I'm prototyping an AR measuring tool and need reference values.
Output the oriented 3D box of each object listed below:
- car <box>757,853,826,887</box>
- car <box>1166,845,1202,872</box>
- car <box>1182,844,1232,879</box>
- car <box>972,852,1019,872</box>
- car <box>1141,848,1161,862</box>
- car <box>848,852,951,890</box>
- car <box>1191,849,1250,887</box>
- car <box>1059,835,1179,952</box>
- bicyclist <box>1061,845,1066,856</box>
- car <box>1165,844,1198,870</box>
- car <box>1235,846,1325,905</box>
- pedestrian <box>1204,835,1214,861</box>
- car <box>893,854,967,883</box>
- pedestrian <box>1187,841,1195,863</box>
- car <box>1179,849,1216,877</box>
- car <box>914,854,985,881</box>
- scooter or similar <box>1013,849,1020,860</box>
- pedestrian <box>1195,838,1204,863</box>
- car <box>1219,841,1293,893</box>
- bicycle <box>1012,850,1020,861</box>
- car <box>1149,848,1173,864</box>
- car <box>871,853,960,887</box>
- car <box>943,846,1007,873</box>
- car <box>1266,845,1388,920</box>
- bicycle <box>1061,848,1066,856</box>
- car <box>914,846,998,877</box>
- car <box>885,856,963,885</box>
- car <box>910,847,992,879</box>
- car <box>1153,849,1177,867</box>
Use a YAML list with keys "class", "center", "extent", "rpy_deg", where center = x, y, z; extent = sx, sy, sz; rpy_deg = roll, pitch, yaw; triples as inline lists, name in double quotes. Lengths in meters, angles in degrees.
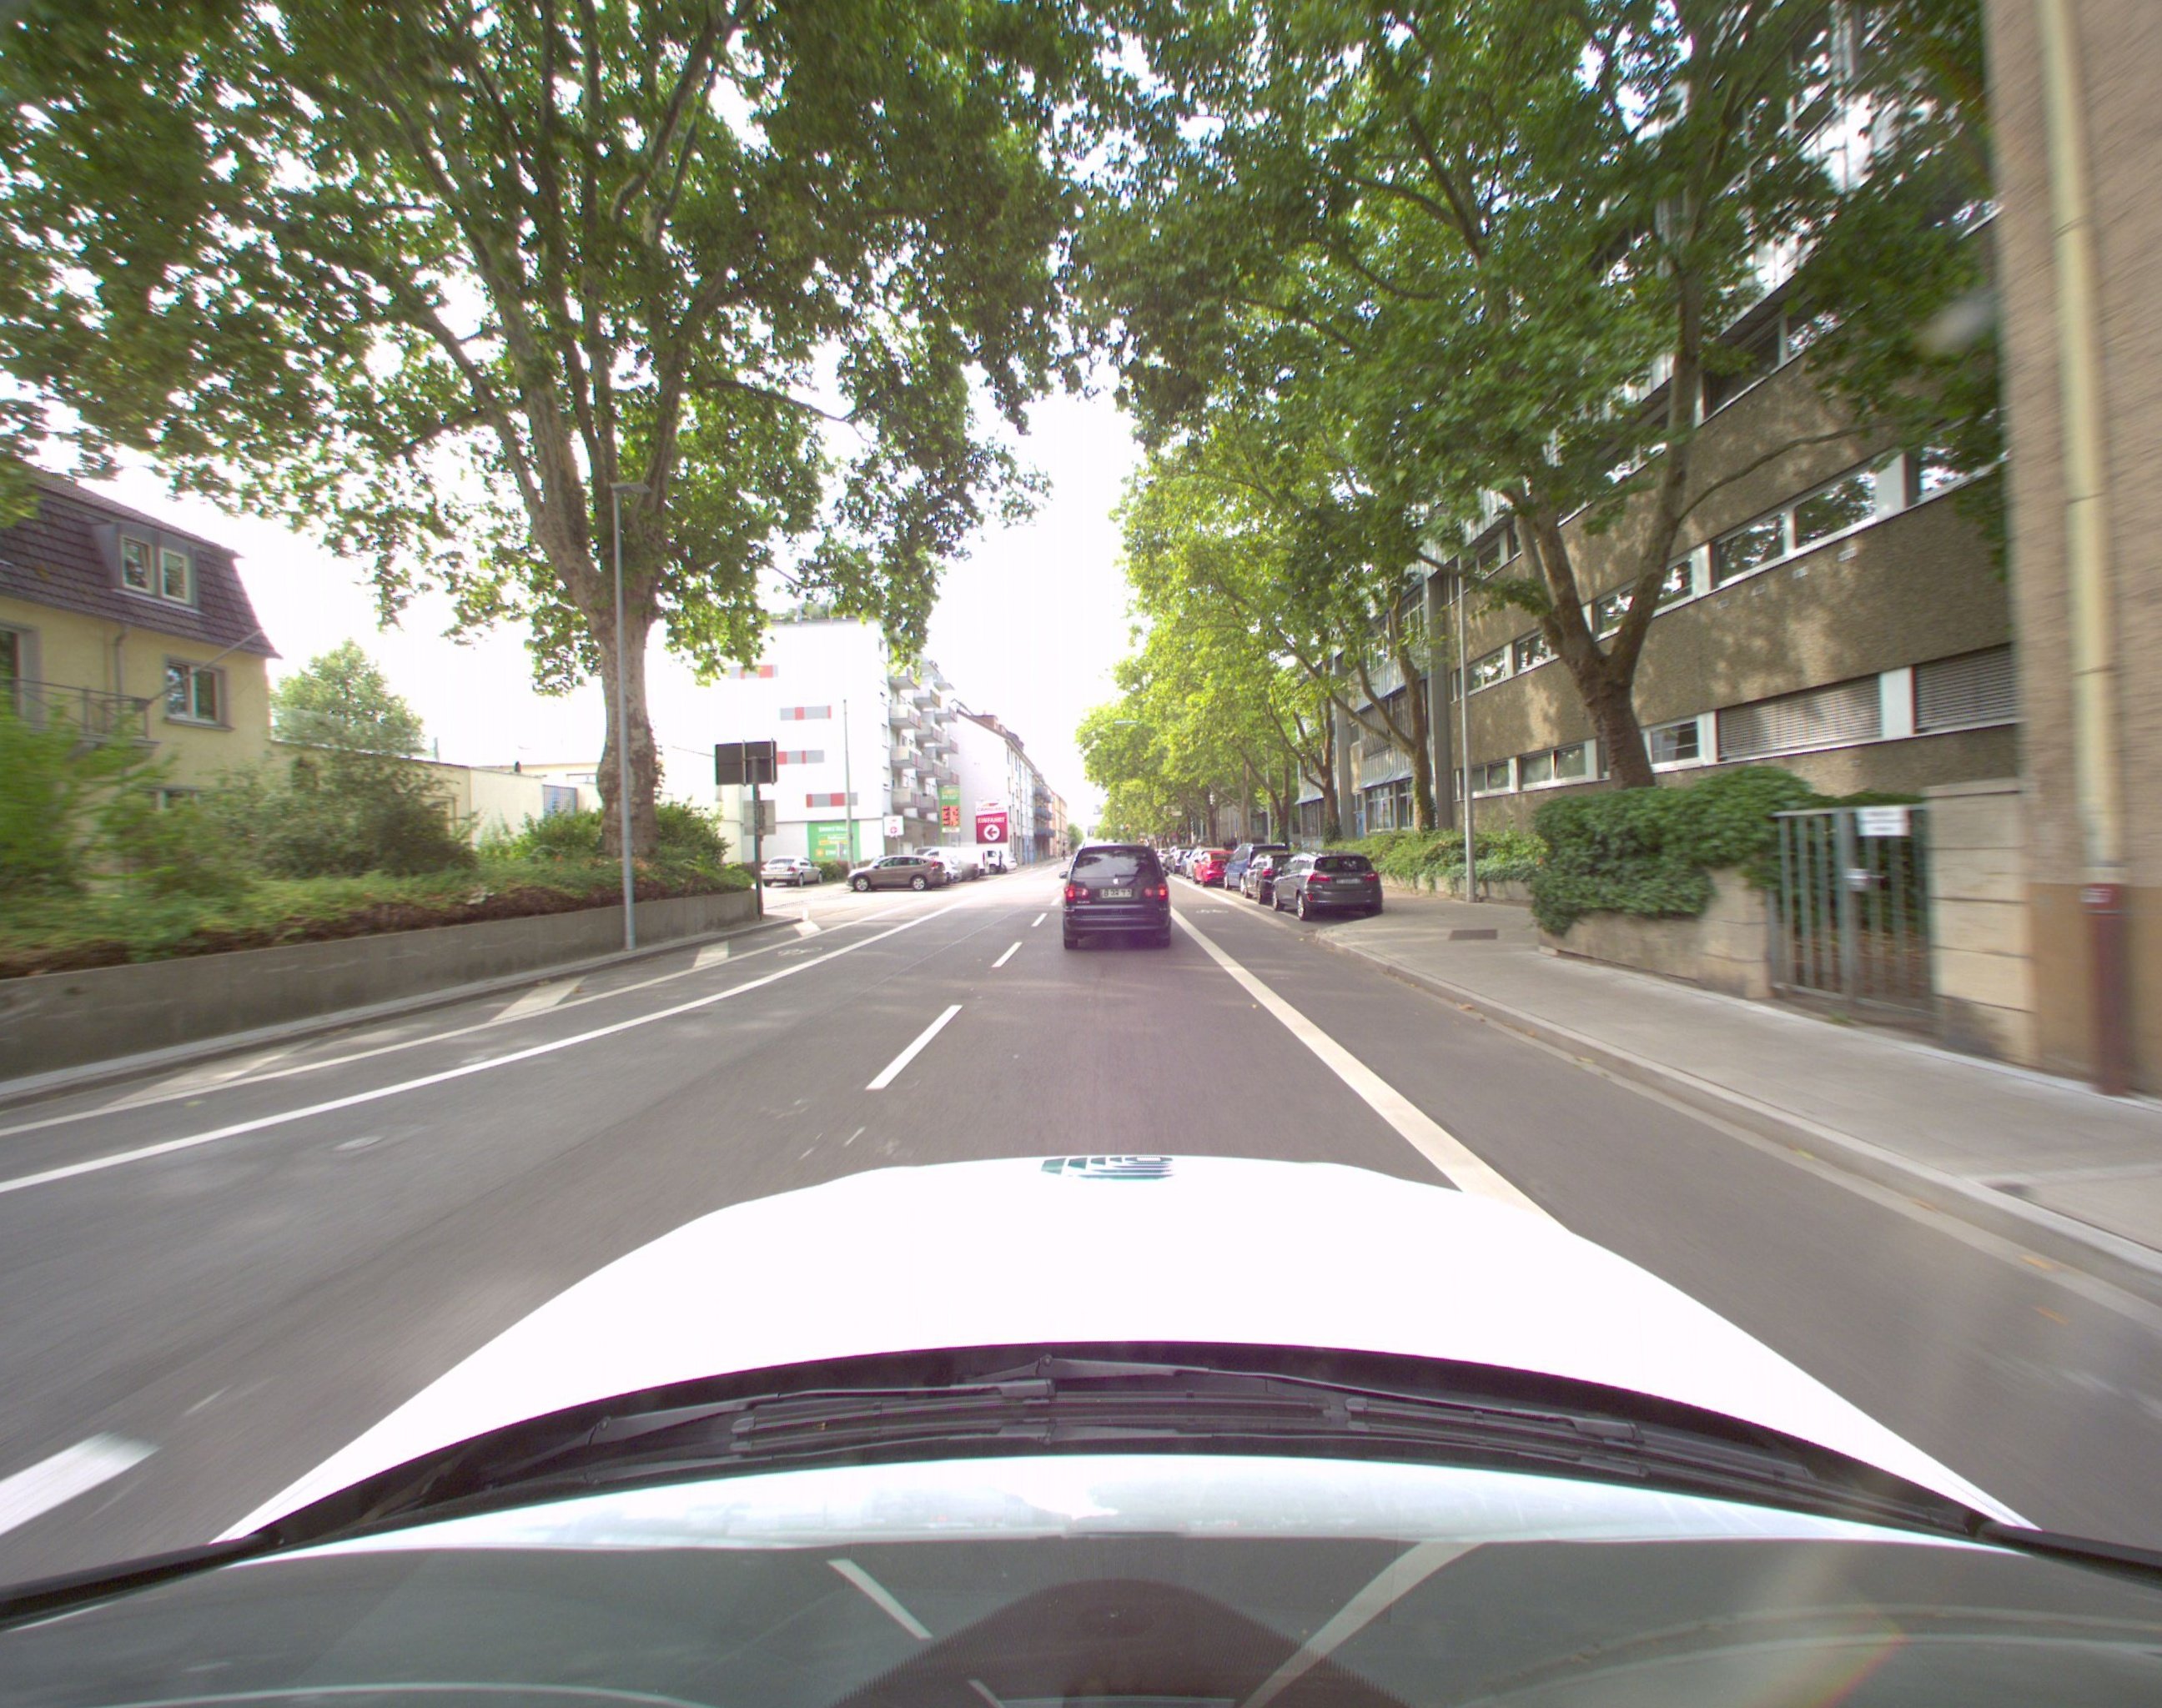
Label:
- class: "car"
  center: [-14.110, 0.754, 39.965]
  extent: [1.751, 1.518, 4.236]
  rpy_deg: [-1, 1, 2]
- class: "car"
  center: [6.166, 0.245, 49.041]
  extent: [1.624, 1.470, 4.318]
  rpy_deg: [-2, 0, 1]
- class: "car"
  center: [5.950, 0.331, 38.965]
  extent: [1.722, 1.516, 4.872]
  rpy_deg: [-1, 0, 1]
- class: "car"
  center: [-6.319, 0.580, 60.484]
  extent: [3.332, 1.497, 1.596]
  rpy_deg: [0, 0, -1]
- class: "car"
  center: [7.125, 0.095, 83.322]
  extent: [1.637, 1.413, 3.413]
  rpy_deg: [0, 1, -2]
- class: "car"
  center: [-8.285, 0.776, 37.438]
  extent: [4.240, 1.605, 1.969]
  rpy_deg: [-1, 2, 2]
- class: "car"
  center: [5.615, 0.515, 33.312]
  extent: [1.670, 1.394, 4.461]
  rpy_deg: [-2, 0, 1]
- class: "car"
  center: [0.611, 0.597, 14.383]
  extent: [1.806, 1.766, 3.738]
  rpy_deg: [-1, 0, 1]
- class: "bicyclist"
  center: [-2.650, -0.507, 123.568]
  extent: [0.651, 1.611, 0.656]
  rpy_deg: [-1, -2, -1]
- class: "car"
  center: [6.620, 0.162, 54.144]
  extent: [1.663, 1.640, 4.503]
  rpy_deg: [0, 1, 0]
- class: "car"
  center: [5.605, 0.541, 23.345]
  extent: [1.652, 1.422, 3.948]
  rpy_deg: [-2, 1, 1]
- class: "pedestrian"
  center: [9.700, -0.446, 61.636]
  extent: [0.640, 1.975, 0.693]
  rpy_deg: [-1, 2, 3]
- class: "car"
  center: [-8.155, 0.757, 44.171]
  extent: [3.669, 1.485, 1.753]
  rpy_deg: [0, 1, 0]
- class: "pedestrian"
  center: [8.376, -0.149, 62.097]
  extent: [0.585, 1.701, 0.508]
  rpy_deg: [-1, 2, 2]
- class: "car"
  center: [6.251, 0.462, 44.142]
  extent: [1.615, 1.386, 4.003]
  rpy_deg: [1, 1, 3]
- class: "car"
  center: [-7.425, 0.744, 46.249]
  extent: [3.669, 1.444, 1.754]
  rpy_deg: [0, 1, 1]
- class: "scooter or similar"
  center: [-6.467, 0.078, 81.645]
  extent: [0.630, 1.034, 2.012]
  rpy_deg: [-2, 0, -4]
- class: "pedestrian"
  center: [9.061, -0.278, 62.150]
  extent: [0.585, 1.838, 0.693]
  rpy_deg: [-1, 2, 3]
- class: "car"
  center: [5.991, 0.382, 28.341]
  extent: [1.652, 1.650, 4.420]
  rpy_deg: [0, 1, 0]
- class: "bicycle"
  center: [-6.346, 0.101, 79.393]
  extent: [0.629, 1.034, 2.014]
  rpy_deg: [-1, 0, -2]
- class: "car"
  center: [7.023, 0.153, 71.775]
  extent: [1.637, 1.413, 3.413]
  rpy_deg: [0, 1, -2]
- class: "car"
  center: [-8.088, 0.758, 40.045]
  extent: [3.923, 1.569, 1.755]
  rpy_deg: [0, 1, 3]
- class: "car"
  center: [-7.550, 0.396, 58.044]
  extent: [4.293, 1.870, 1.824]
  rpy_deg: [0, 0, 0]
- class: "car"
  center: [5.438, 0.553, 18.508]
  extent: [1.652, 1.422, 3.868]
  rpy_deg: [-2, 1, 1]
- class: "bicycle"
  center: [-2.641, -0.326, 123.398]
  extent: [0.629, 1.034, 2.014]
  rpy_deg: [-1, -2, -1]
- class: "car"
  center: [-7.831, 0.431, 51.408]
  extent: [4.899, 1.903, 2.000]
  rpy_deg: [0, 0, 1]
- class: "car"
  center: [-8.048, 0.814, 42.049]
  extent: [3.669, 1.426, 1.753]
  rpy_deg: [0, 1, 0]
- class: "car"
  center: [-7.727, 0.502, 48.833]
  extent: [4.508, 1.878, 2.048]
  rpy_deg: [0, 0, 2]
- class: "car"
  center: [6.925, 0.325, 67.434]
  extent: [1.669, 1.394, 4.463]
  rpy_deg: [0, 1, 2]
